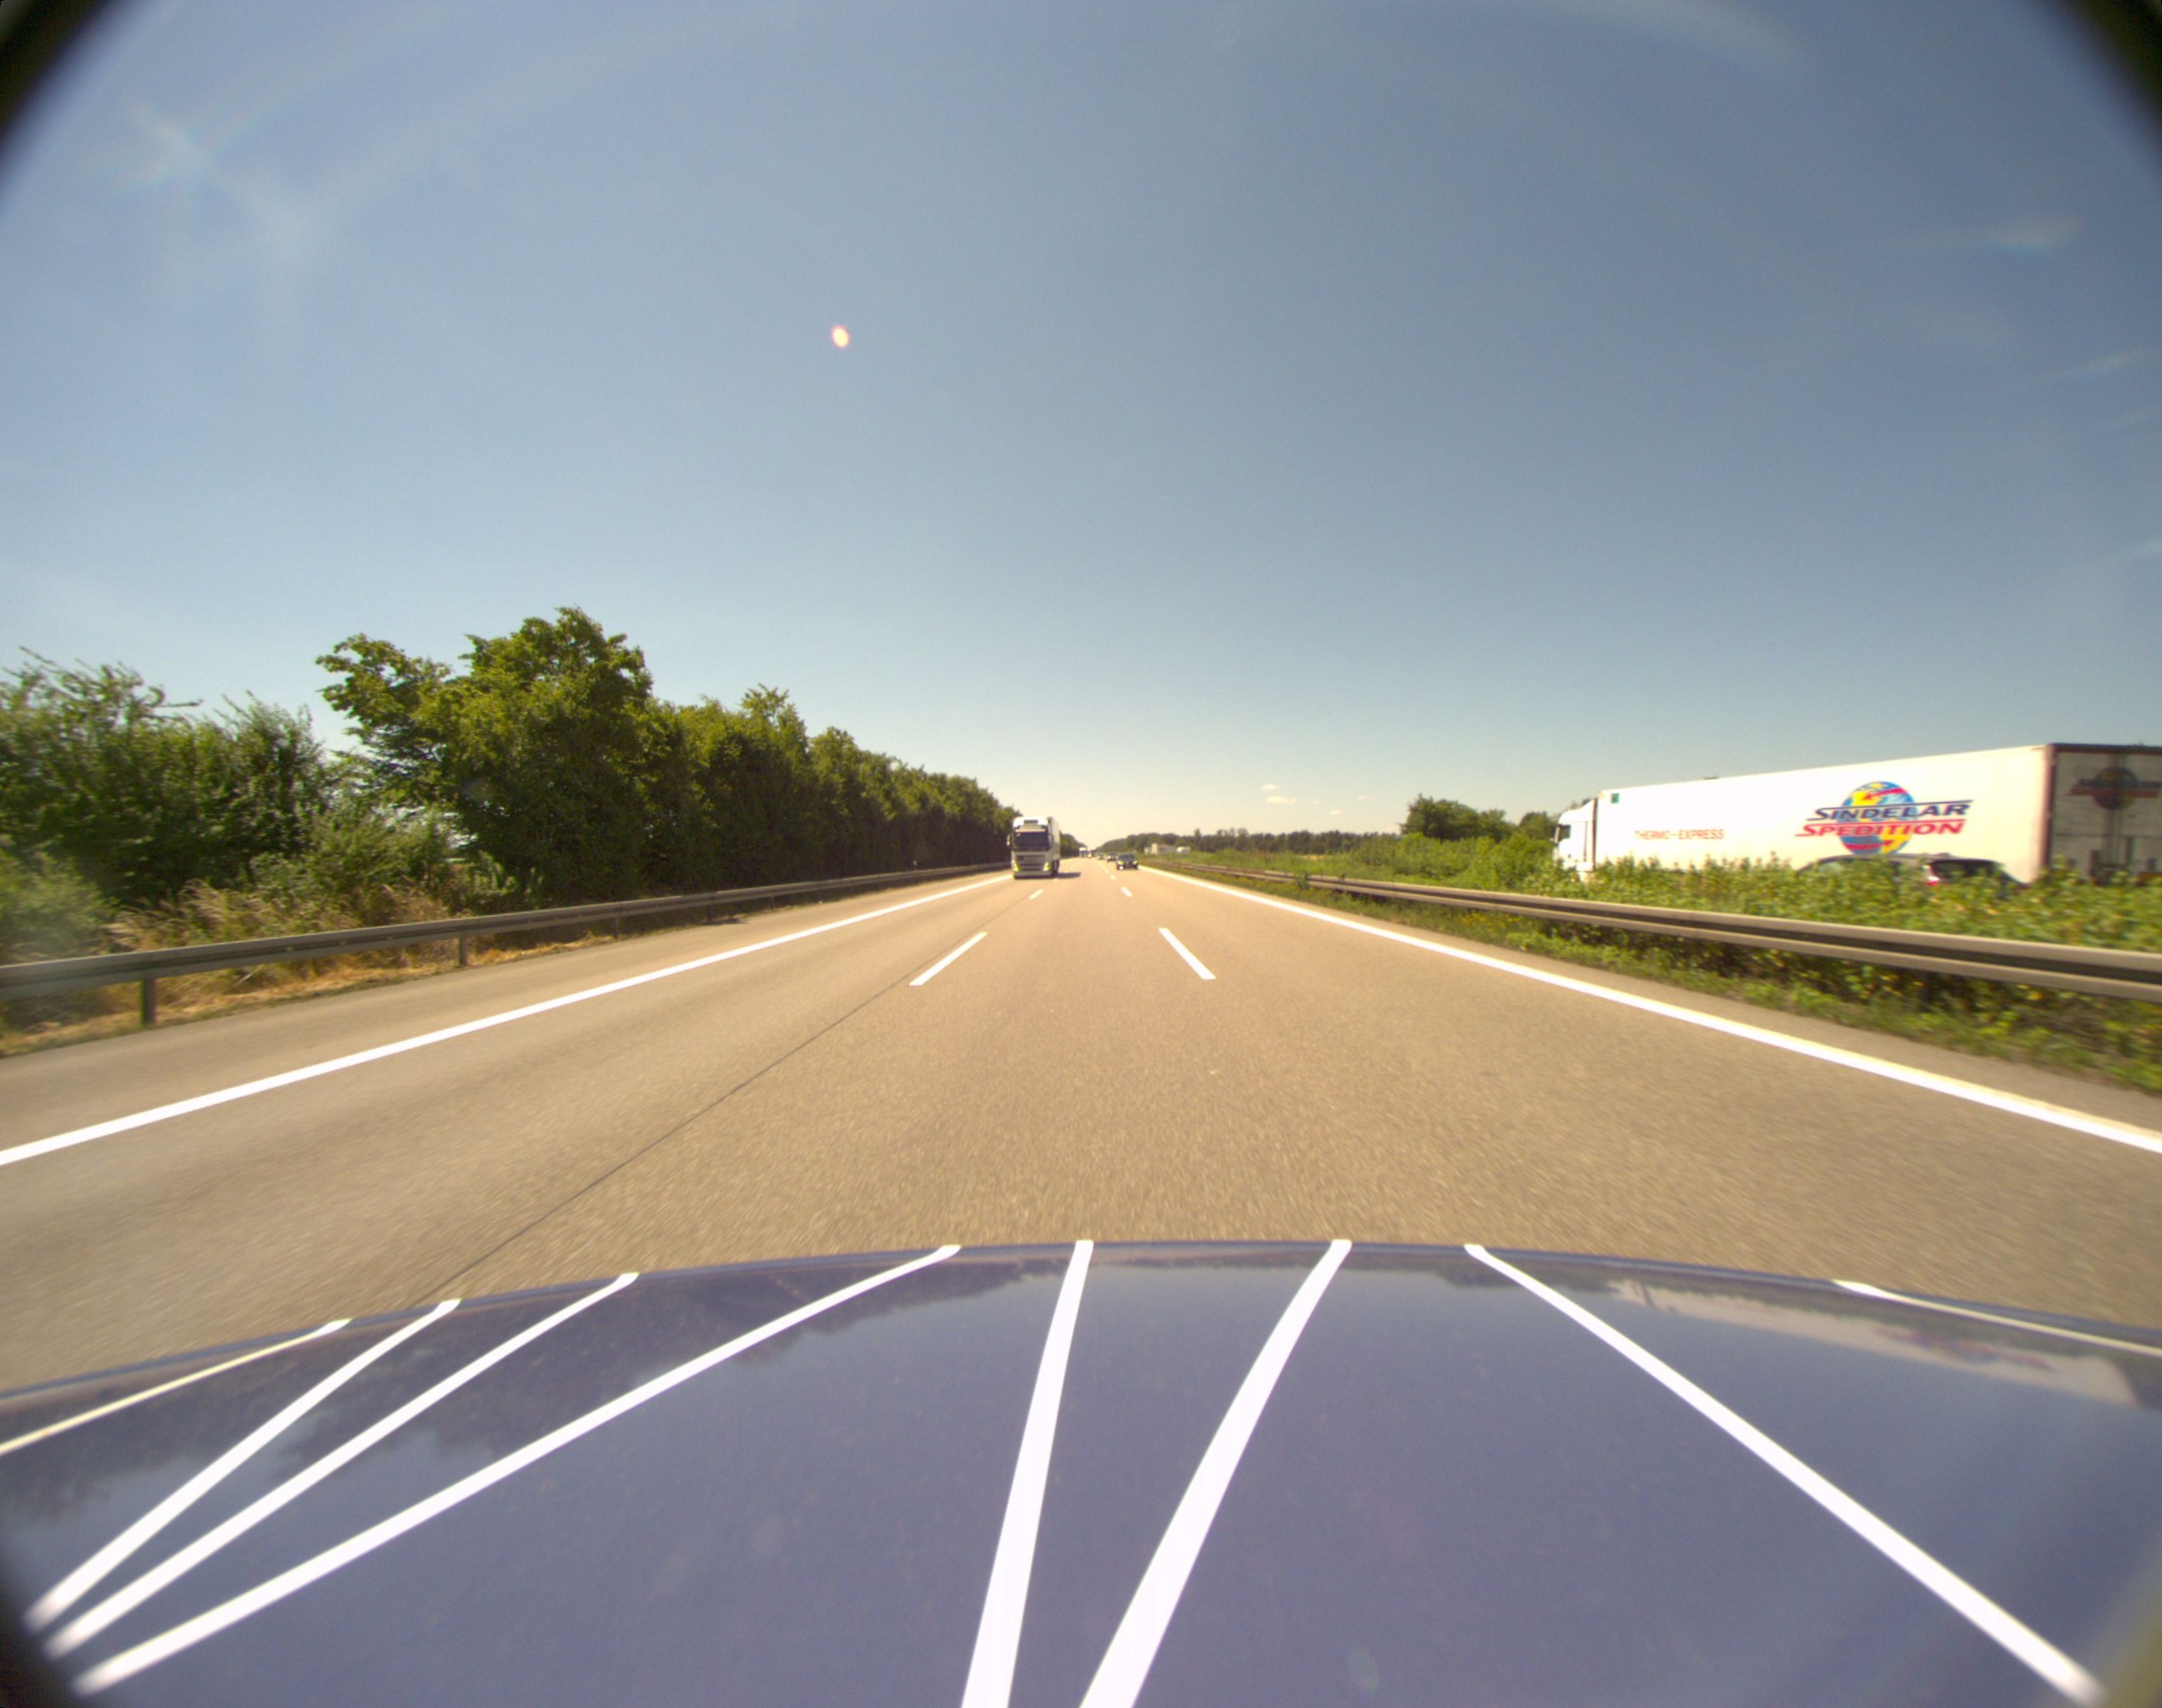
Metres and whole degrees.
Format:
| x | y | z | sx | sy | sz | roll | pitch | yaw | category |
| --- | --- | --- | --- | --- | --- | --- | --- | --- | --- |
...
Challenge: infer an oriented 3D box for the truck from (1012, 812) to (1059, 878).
| x | y | z | sx | sy | sz | roll | pitch | yaw | category |
| --- | --- | --- | --- | --- | --- | --- | --- | --- | --- |
| -2.954 | -0.604 | 50.695 | 2.476 | 4.039 | 6.319 | -2 | 1 | 1 | truck |

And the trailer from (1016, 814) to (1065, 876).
| x | y | z | sx | sy | sz | roll | pitch | yaw | category |
| --- | --- | --- | --- | --- | --- | --- | --- | --- | --- |
| -2.830 | -0.669 | 57.256 | 2.476 | 4.038 | 13.879 | -2 | 1 | 1 | trailer |

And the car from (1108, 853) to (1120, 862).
| x | y | z | sx | sy | sz | roll | pitch | yaw | category |
| --- | --- | --- | --- | --- | --- | --- | --- | --- | --- |
| 5.459 | 0.556 | 125.494 | 1.811 | 1.417 | 4.000 | -2 | 1 | 1 | car |

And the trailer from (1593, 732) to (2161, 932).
| x | y | z | sx | sy | sz | roll | pitch | yaw | category |
| --- | --- | --- | --- | --- | --- | --- | --- | --- | --- |
| 20.853 | -0.512 | 21.851 | 2.941 | 3.847 | 13.908 | -2 | 1 | 1 | trailer |

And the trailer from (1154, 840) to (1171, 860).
| x | y | z | sx | sy | sz | roll | pitch | yaw | category |
| --- | --- | --- | --- | --- | --- | --- | --- | --- | --- |
| 19.684 | -1.085 | 183.771 | 2.828 | 4.500 | 13.865 | -2 | 1 | 1 | trailer |

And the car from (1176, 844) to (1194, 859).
| x | y | z | sx | sy | sz | roll | pitch | yaw | category |
| --- | --- | --- | --- | --- | --- | --- | --- | --- | --- |
| 17.914 | -0.501 | 130.970 | 2.085 | 2.380 | 6.732 | -2 | 1 | 0 | car |

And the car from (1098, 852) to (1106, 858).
| x | y | z | sx | sy | sz | roll | pitch | yaw | category |
| --- | --- | --- | --- | --- | --- | --- | --- | --- | --- |
| 4.857 | 0.244 | 176.392 | 1.811 | 1.417 | 4.000 | -2 | 1 | 1 | car |

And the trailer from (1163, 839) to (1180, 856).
| x | y | z | sx | sy | sz | roll | pitch | yaw | category |
| --- | --- | --- | --- | --- | --- | --- | --- | --- | --- |
| 24.096 | -1.745 | 203.327 | 2.962 | 4.035 | 14.324 | -2 | 1 | 1 | trailer |

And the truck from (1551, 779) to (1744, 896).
| x | y | z | sx | sy | sz | roll | pitch | yaw | category |
| --- | --- | --- | --- | --- | --- | --- | --- | --- | --- |
| 20.941 | -0.572 | 28.582 | 2.941 | 3.847 | 5.751 | -2 | 1 | 1 | truck |

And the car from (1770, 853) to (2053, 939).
| x | y | z | sx | sy | sz | roll | pitch | yaw | category |
| --- | --- | --- | --- | --- | --- | --- | --- | --- | --- |
| 15.404 | 0.705 | 14.385 | 1.667 | 1.338 | 3.391 | -2 | 1 | 1 | car |

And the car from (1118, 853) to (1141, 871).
| x | y | z | sx | sy | sz | roll | pitch | yaw | category |
| --- | --- | --- | --- | --- | --- | --- | --- | --- | --- |
| 4.352 | 0.660 | 68.325 | 1.811 | 1.459 | 4.000 | -2 | 1 | 1 | car |
